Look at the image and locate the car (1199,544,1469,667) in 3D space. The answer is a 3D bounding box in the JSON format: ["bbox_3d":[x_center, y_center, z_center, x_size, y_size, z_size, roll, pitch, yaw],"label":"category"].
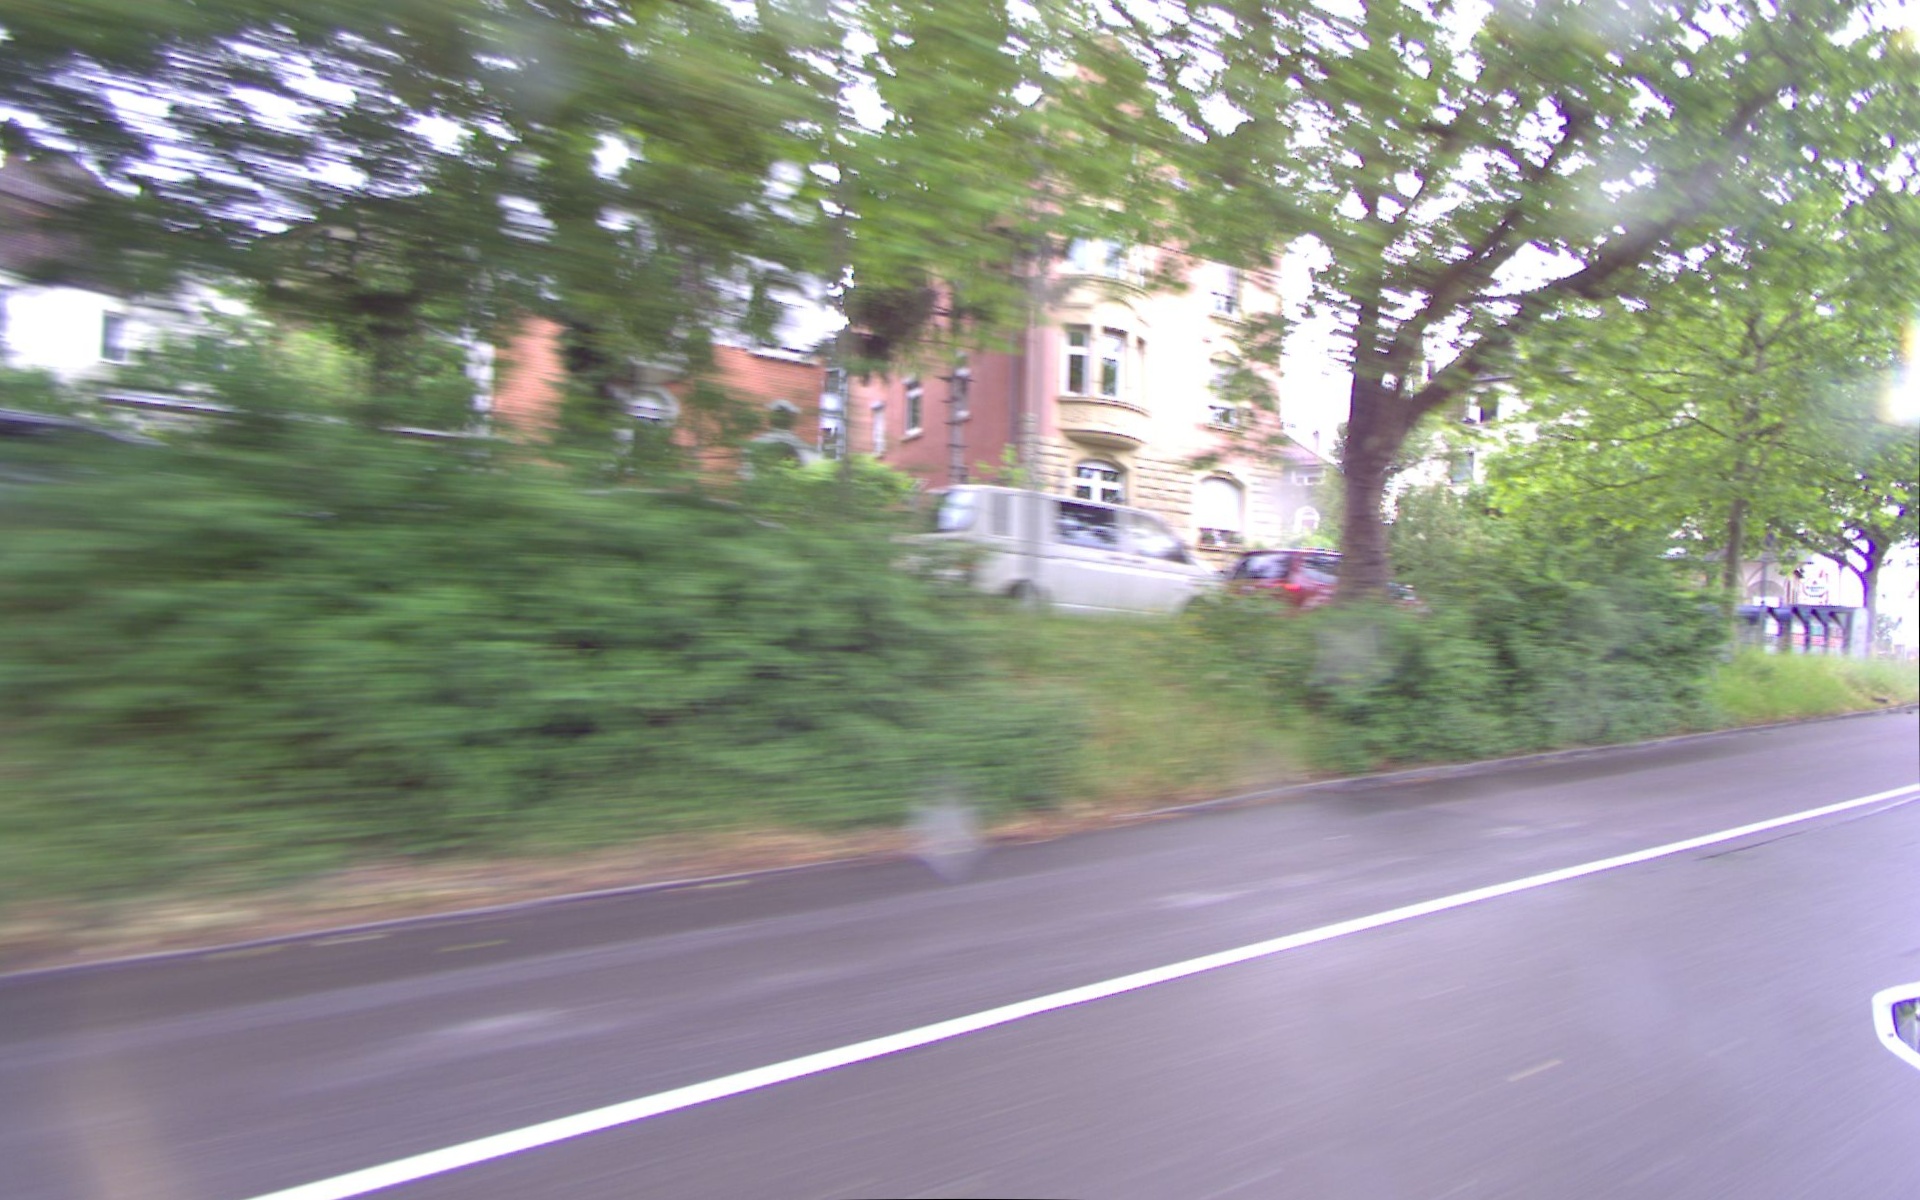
[{"bbox_3d":[6.436,0.105,17.168,4.572,1.868,1.822,1,1,-30],"label":"car"}]

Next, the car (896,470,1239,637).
[{"bbox_3d":[1.576,-0.554,14.324,4.572,2.040,1.984,1,1,-30],"label":"car"}]

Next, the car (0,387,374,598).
[{"bbox_3d":[-7.684,-0.852,8.570,4.572,1.578,1.822,1,1,-30],"label":"car"}]

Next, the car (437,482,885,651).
[{"bbox_3d":[-3.302,-0.298,11.342,4.572,1.578,1.822,1,1,-30],"label":"car"}]
